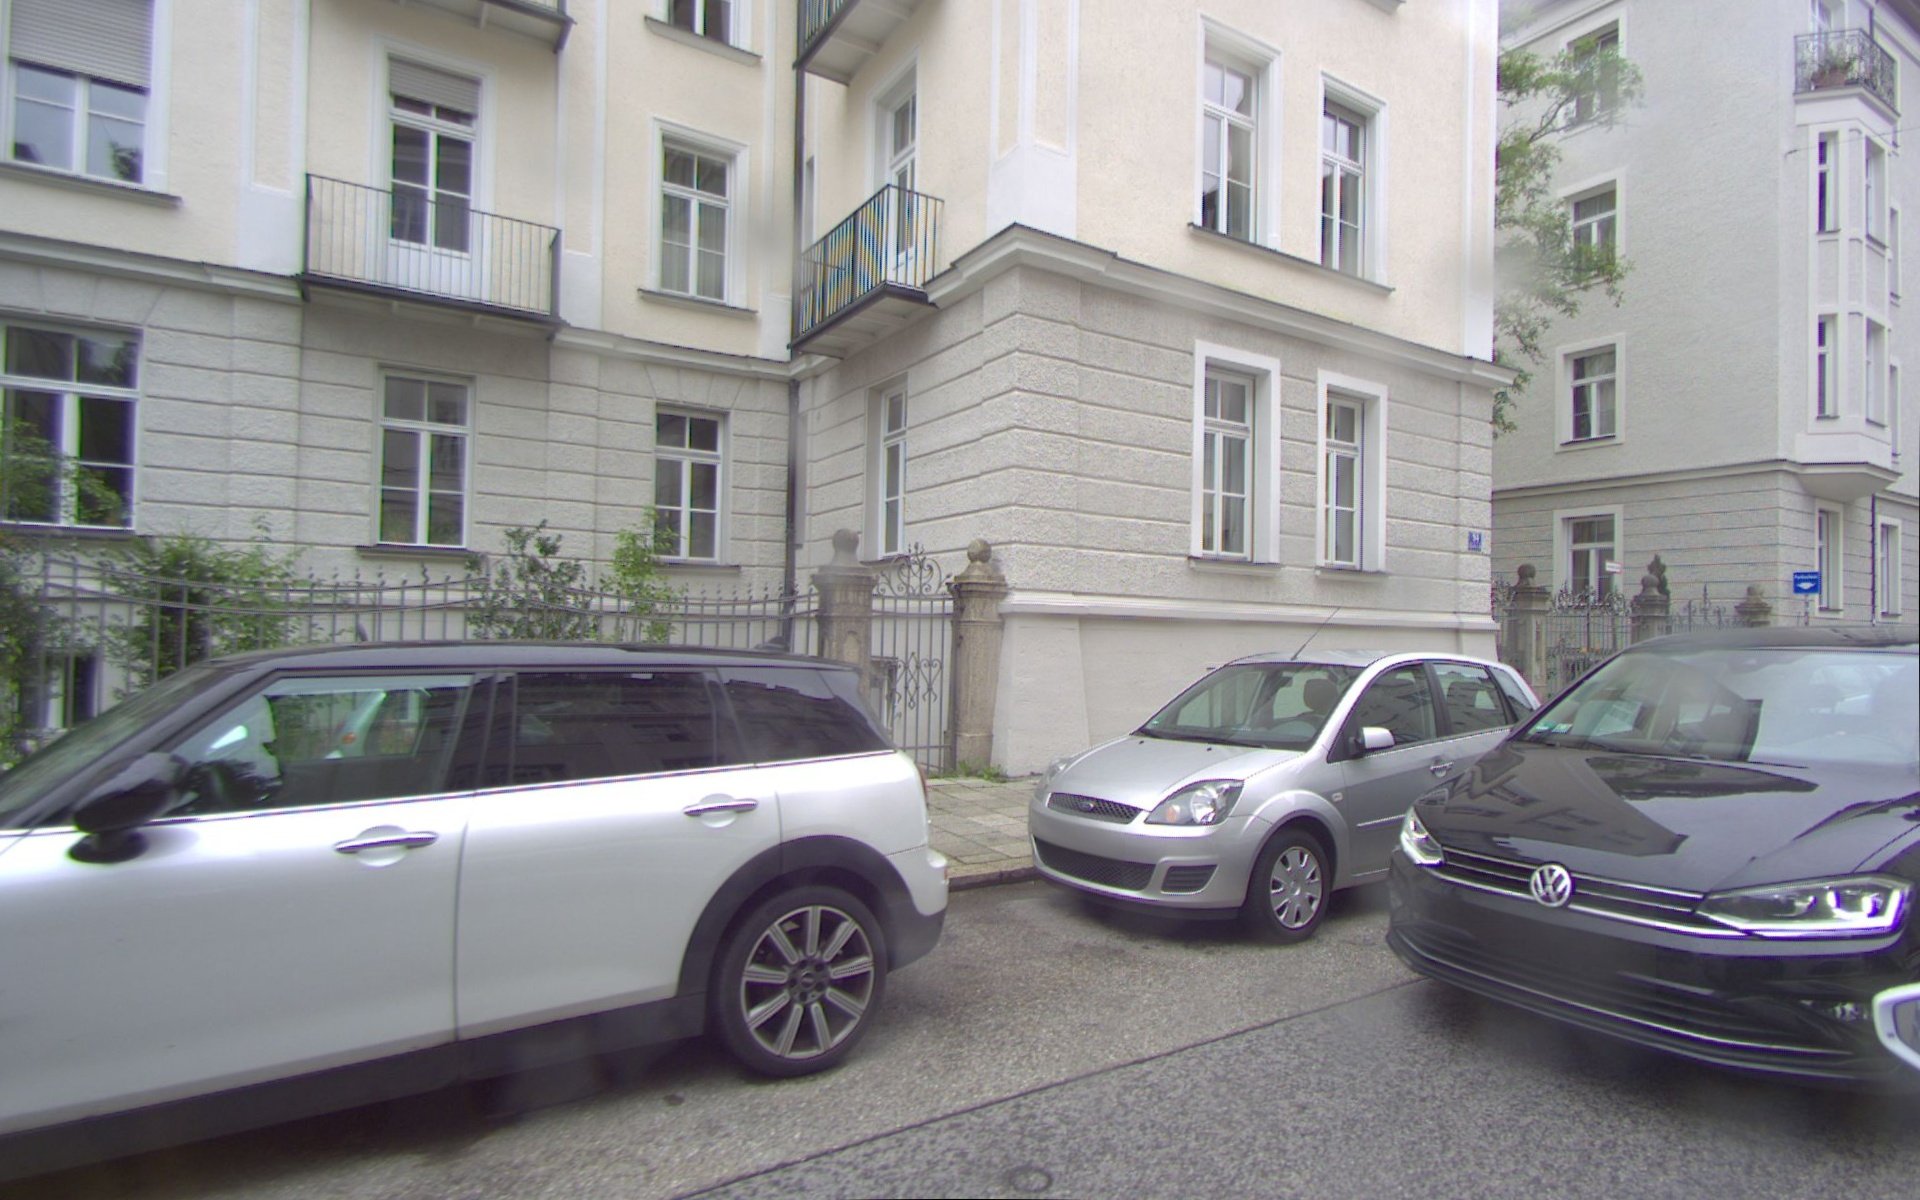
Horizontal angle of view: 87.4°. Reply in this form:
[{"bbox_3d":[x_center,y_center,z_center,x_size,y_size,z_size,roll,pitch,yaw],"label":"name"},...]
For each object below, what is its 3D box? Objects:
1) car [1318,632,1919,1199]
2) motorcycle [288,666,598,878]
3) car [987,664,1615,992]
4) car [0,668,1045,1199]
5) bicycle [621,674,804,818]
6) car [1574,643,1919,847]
[{"bbox_3d":[3.617,0.978,4.339,4.039,1.553,1.716,2,-5,-31],"label":"car"},{"bbox_3d":[-3.552,1.120,6.991,1.801,1.266,0.700,3,-1,-33],"label":"motorcycle"},{"bbox_3d":[2.250,1.132,6.275,3.958,1.421,1.635,2,-5,-34],"label":"car"},{"bbox_3d":[-1.847,1.006,3.580,4.034,1.453,1.788,2,-2,-32],"label":"car"},{"bbox_3d":[-2.060,1.188,8.418,1.403,1.075,0.429,2,1,-31],"label":"bicycle"},{"bbox_3d":[7.942,1.245,9.748,4.015,1.601,1.689,1,-4,-31],"label":"car"}]
